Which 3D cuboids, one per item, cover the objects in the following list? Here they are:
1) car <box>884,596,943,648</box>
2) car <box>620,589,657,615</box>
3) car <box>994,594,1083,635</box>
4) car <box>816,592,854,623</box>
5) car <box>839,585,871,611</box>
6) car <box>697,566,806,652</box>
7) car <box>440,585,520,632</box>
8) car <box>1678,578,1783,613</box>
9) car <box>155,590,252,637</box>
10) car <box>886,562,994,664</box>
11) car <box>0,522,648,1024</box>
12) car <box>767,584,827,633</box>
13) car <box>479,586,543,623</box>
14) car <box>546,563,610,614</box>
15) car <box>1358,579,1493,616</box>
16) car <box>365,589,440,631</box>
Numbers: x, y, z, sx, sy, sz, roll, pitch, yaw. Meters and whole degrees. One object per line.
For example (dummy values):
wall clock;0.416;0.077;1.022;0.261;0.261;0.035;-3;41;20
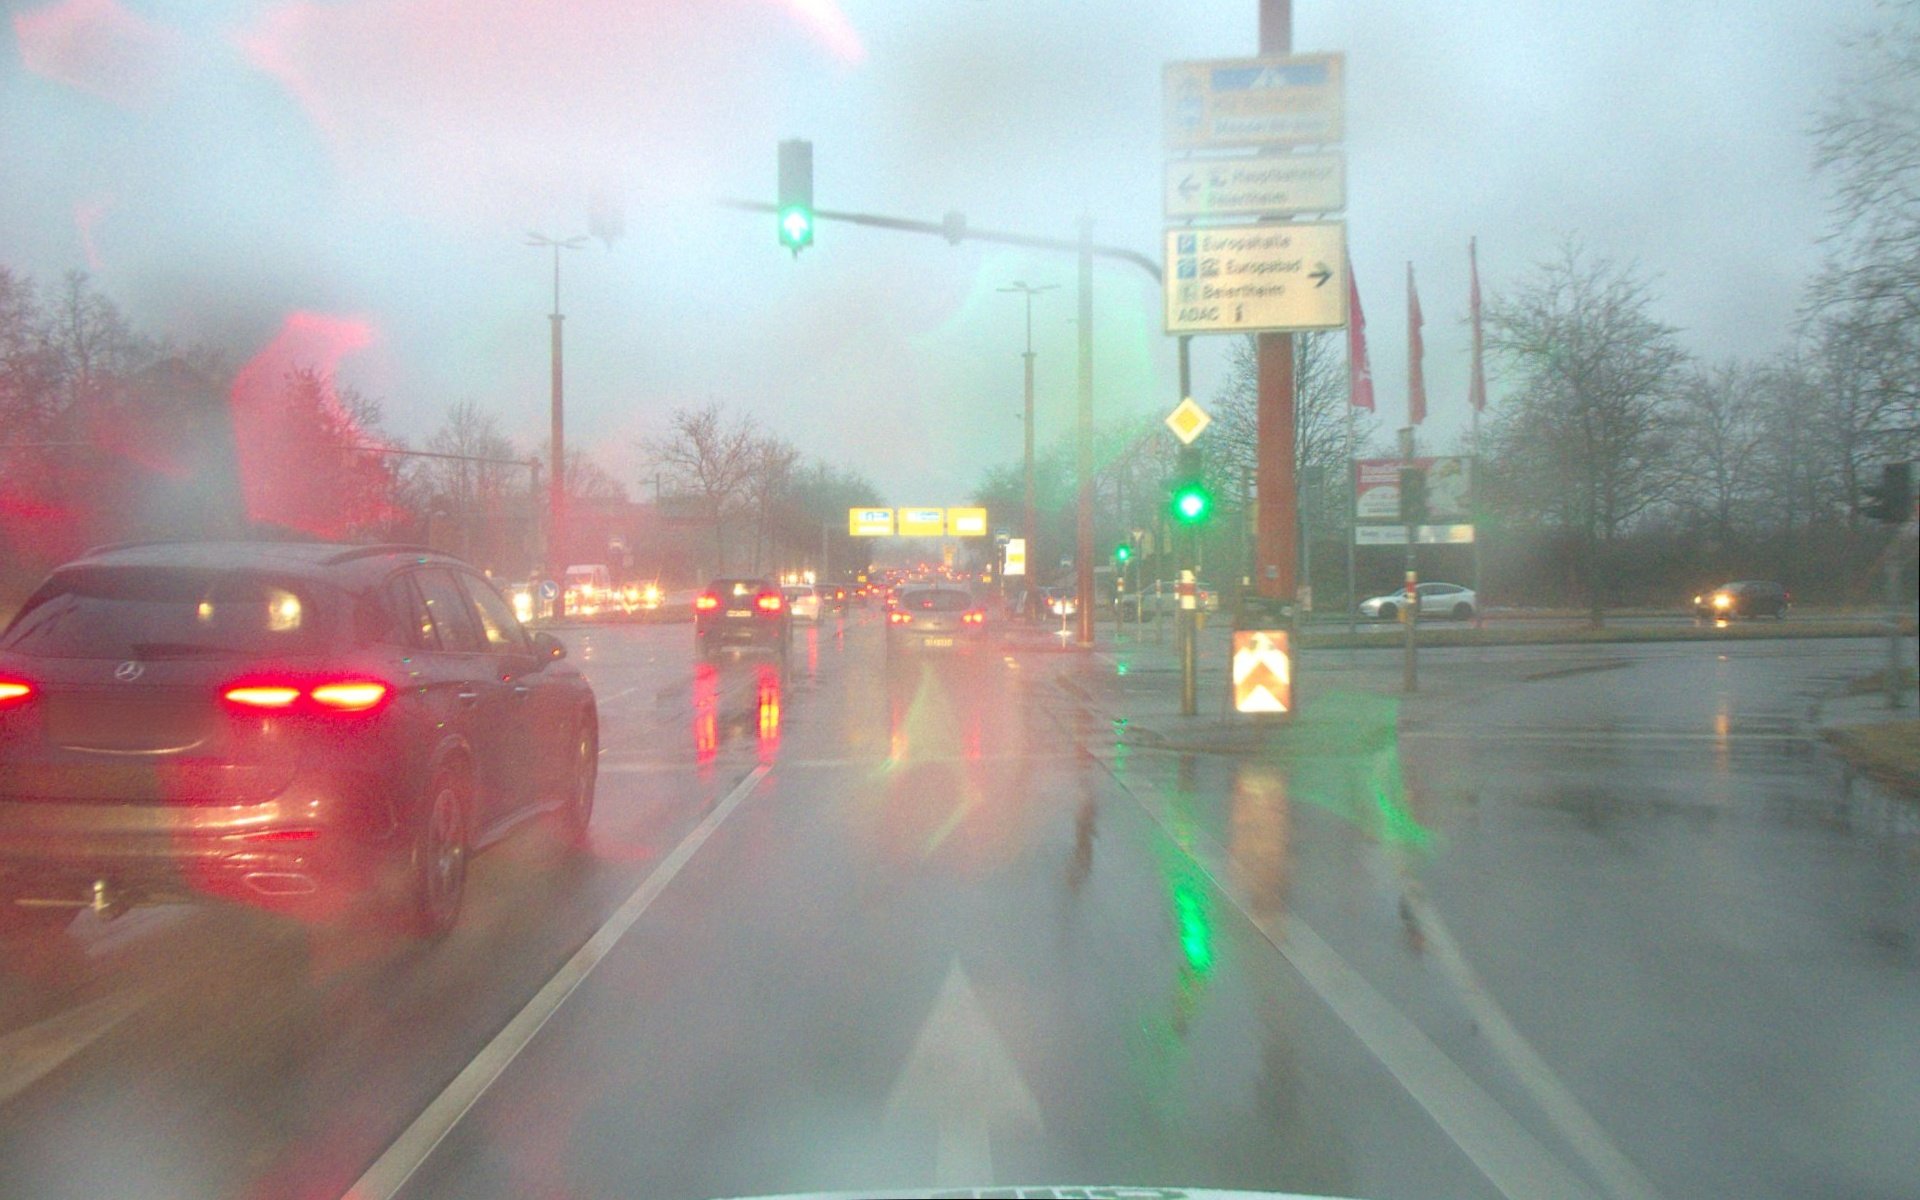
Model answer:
car;-1.592;0.756;57.553;1.953;1.691;3.999;1;0;-1
car;-20.620;0.111;106.247;1.734;1.614;4.032;0;1;-2
car;3.386;0.626;72.256;1.911;1.677;4.426;2;0;-28
car;-5.654;0.338;74.982;1.474;1.362;4.000;0;0;-1
car;-6.504;-0.131;102.950;1.785;1.530;4.000;0;0;-1
car;-4.258;0.164;34.348;1.785;1.676;4.000;0;0;-1
car;-17.024;0.269;58.880;1.820;1.609;4.077;0;1;-3
car;30.845;-0.199;66.185;3.934;1.332;1.625;-1;0;-24
car;-26.306;0.446;57.629;1.586;1.521;4.016;0;1;-1
car;-0.358;0.204;29.800;1.785;1.676;4.466;-1;0;-1
car;-2.765;0.566;7.769;1.785;1.676;4.466;0;0;-1
car;-5.781;0.275;59.174;1.785;1.676;4.000;0;0;-1
car;-19.944;0.181;73.593;1.734;1.560;4.524;0;1;-2
car;-24.046;-0.672;104.468;2.245;3.057;7.346;1;0;0
car;17.734;-0.096;63.139;4.641;1.400;1.883;0;0;1
car;-19.902;0.336;59.140;1.618;1.445;3.325;0;1;-2
